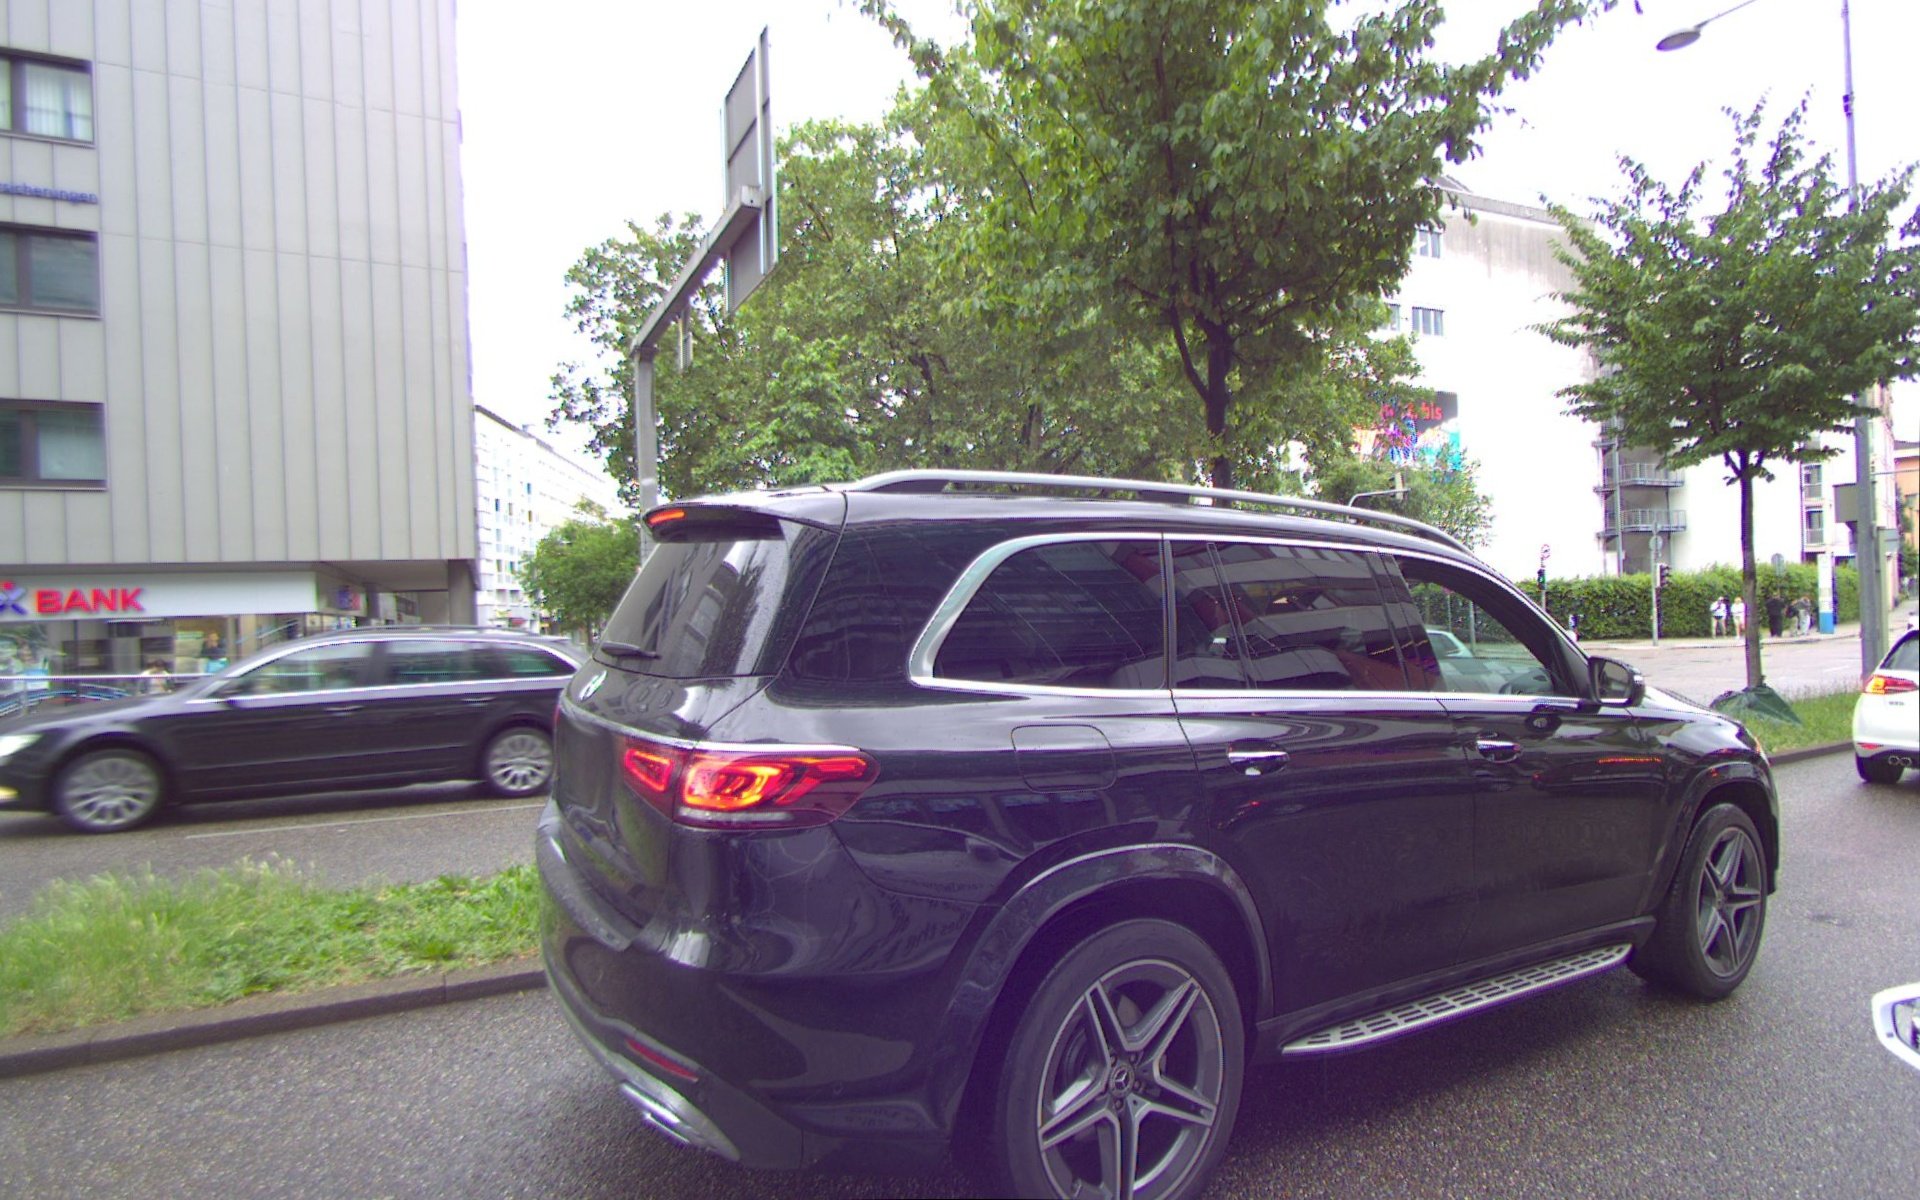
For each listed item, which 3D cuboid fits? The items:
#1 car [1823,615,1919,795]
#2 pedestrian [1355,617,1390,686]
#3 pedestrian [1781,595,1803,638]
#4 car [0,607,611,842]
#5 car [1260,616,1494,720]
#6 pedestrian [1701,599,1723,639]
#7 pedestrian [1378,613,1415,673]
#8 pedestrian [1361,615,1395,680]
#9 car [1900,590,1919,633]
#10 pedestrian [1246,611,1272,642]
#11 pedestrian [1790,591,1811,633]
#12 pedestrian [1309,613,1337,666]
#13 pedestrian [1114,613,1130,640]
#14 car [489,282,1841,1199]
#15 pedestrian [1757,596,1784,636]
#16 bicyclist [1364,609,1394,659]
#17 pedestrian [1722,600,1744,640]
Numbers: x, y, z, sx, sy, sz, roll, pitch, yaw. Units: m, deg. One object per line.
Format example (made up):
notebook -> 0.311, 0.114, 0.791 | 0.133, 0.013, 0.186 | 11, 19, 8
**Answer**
car -> 9.540, 0.871, 8.958 | 3.799, 1.448, 1.768 | 0, 0, -32
pedestrian -> 10.379, 1.282, 25.256 | 0.572, 1.684, 0.554 | -2, 0, -30
pedestrian -> 34.856, 0.685, 42.062 | 0.741, 1.771, 0.535 | 2, -1, -38
car -> -5.539, 0.899, 8.416 | 4.685, 1.505, 1.624 | -1, -2, -33
car -> 6.723, 1.148, 16.130 | 3.712, 1.487, 1.625 | 4, -5, -32
pedestrian -> 31.157, 0.790, 41.641 | 0.522, 1.620, 0.576 | 2, -1, -36
pedestrian -> 12.730, 1.239, 29.309 | 0.620, 1.684, 0.749 | -2, 0, -30
pedestrian -> 10.981, 1.235, 26.371 | 0.572, 1.684, 0.554 | -2, 0, -30
car -> 35.003, 0.390, 35.680 | 3.571, 1.506, 1.565 | 0, 1, -33
pedestrian -> 15.626, 1.378, 52.485 | 0.677, 1.599, 1.055 | 2, -1, -34
pedestrian -> 36.153, 0.530, 43.182 | 0.559, 1.771, 0.535 | 2, -1, -35
pedestrian -> 11.808, 1.280, 32.677 | 0.572, 1.689, 0.636 | -2, 0, -30
pedestrian -> 10.140, 1.642, 62.919 | 0.723, 1.664, 0.635 | 2, -1, -23
car -> 1.109, 0.513, 3.781 | 5.016, 1.895, 1.901 | 3, -1, -31
pedestrian -> 33.882, 0.660, 41.999 | 0.725, 1.664, 0.633 | 2, -1, -32
bicyclist -> 13.203, 1.071, 31.630 | 0.602, 1.550, 0.629 | 2, -3, -30
pedestrian -> 31.919, 0.818, 41.467 | 0.522, 1.620, 0.576 | 2, -1, -36
